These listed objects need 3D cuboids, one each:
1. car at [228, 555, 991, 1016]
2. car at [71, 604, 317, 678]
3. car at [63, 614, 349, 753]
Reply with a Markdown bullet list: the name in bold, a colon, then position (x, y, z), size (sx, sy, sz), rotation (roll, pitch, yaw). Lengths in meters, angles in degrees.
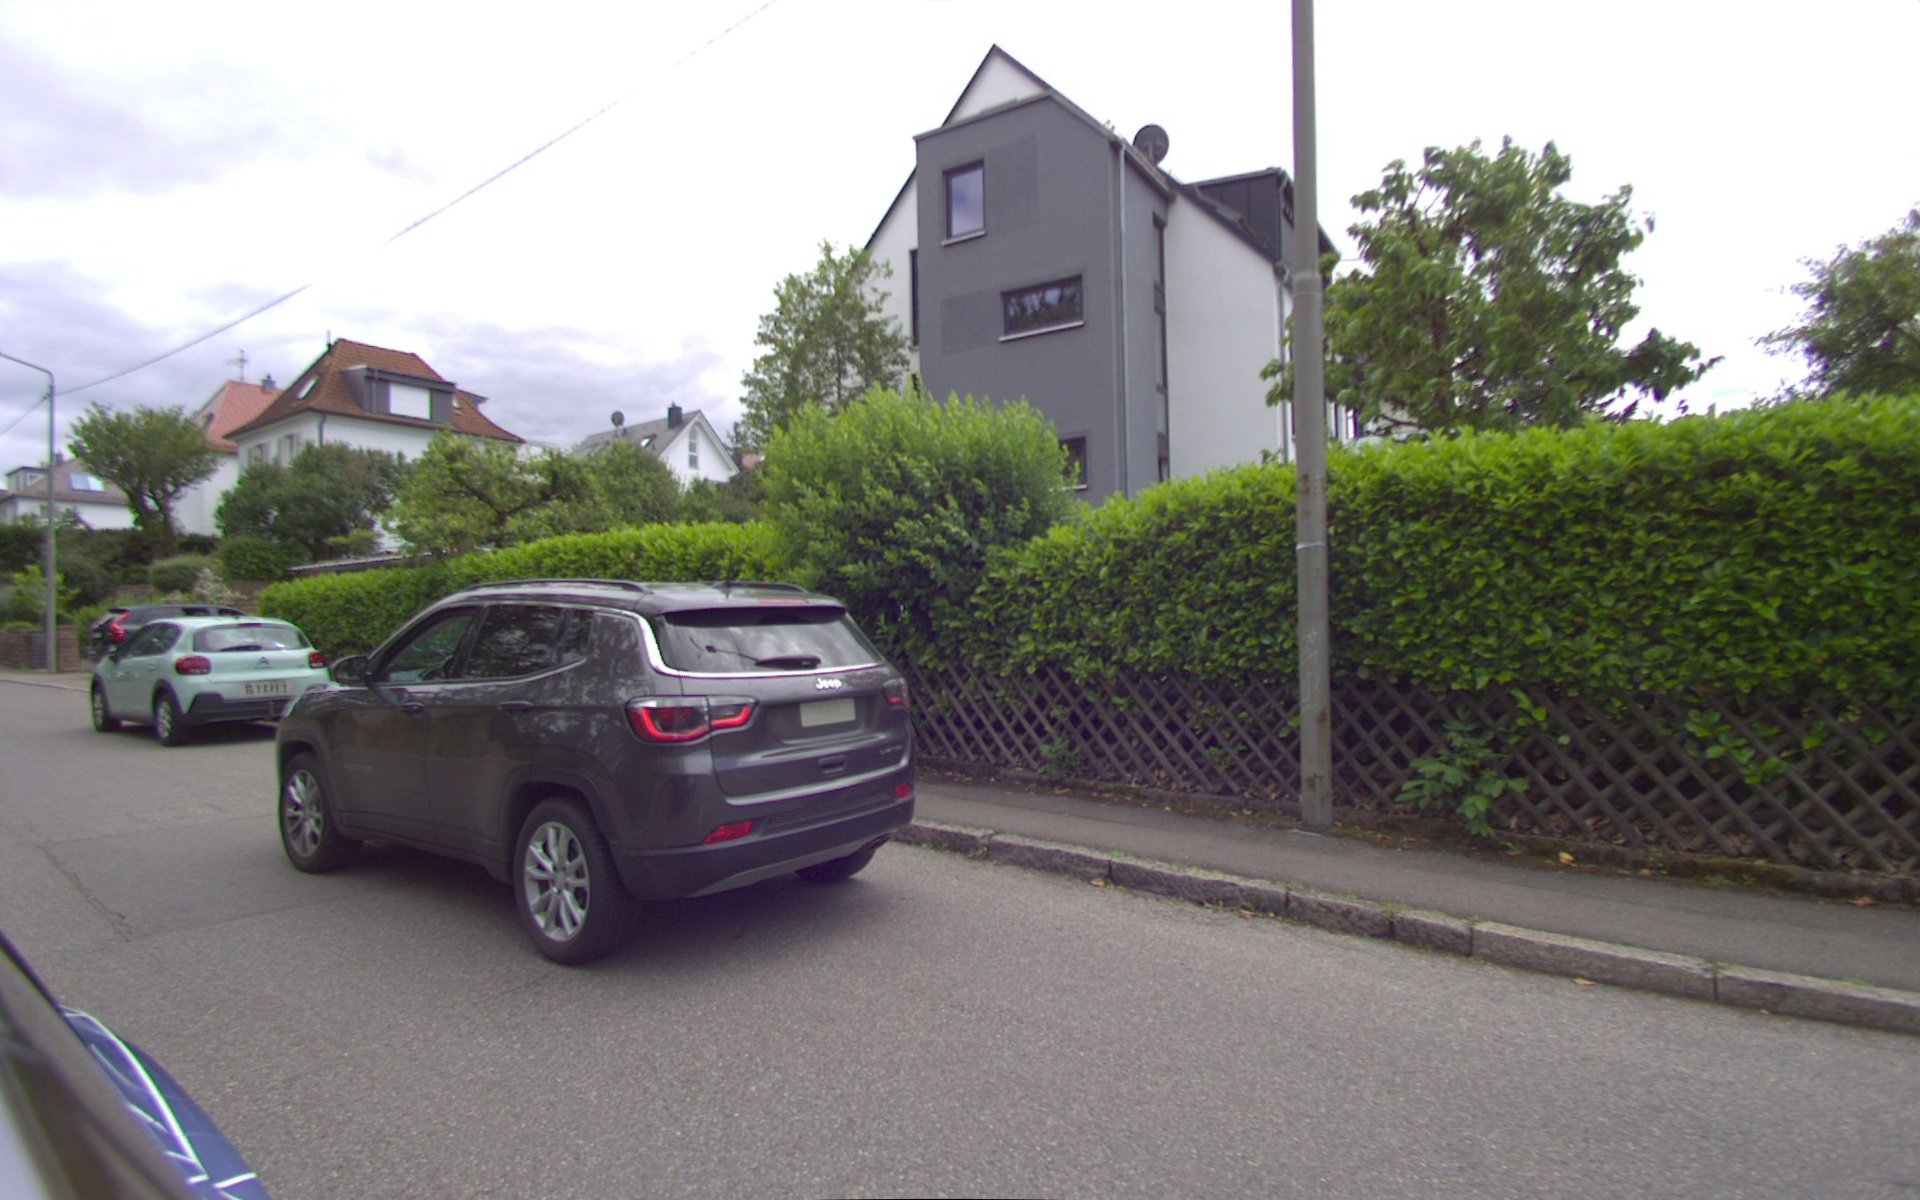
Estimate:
- **car**: position (-2.126, 0.708, 5.558), size (4.314, 1.609, 1.817), rotation (-2, -1, 36)
- **car**: position (-19.308, 0.991, 25.743), size (1.993, 1.710, 4.580), rotation (-1, -2, 32)
- **car**: position (-9.738, 0.950, 12.988), size (4.005, 1.511, 1.768), rotation (-1, 0, 35)
